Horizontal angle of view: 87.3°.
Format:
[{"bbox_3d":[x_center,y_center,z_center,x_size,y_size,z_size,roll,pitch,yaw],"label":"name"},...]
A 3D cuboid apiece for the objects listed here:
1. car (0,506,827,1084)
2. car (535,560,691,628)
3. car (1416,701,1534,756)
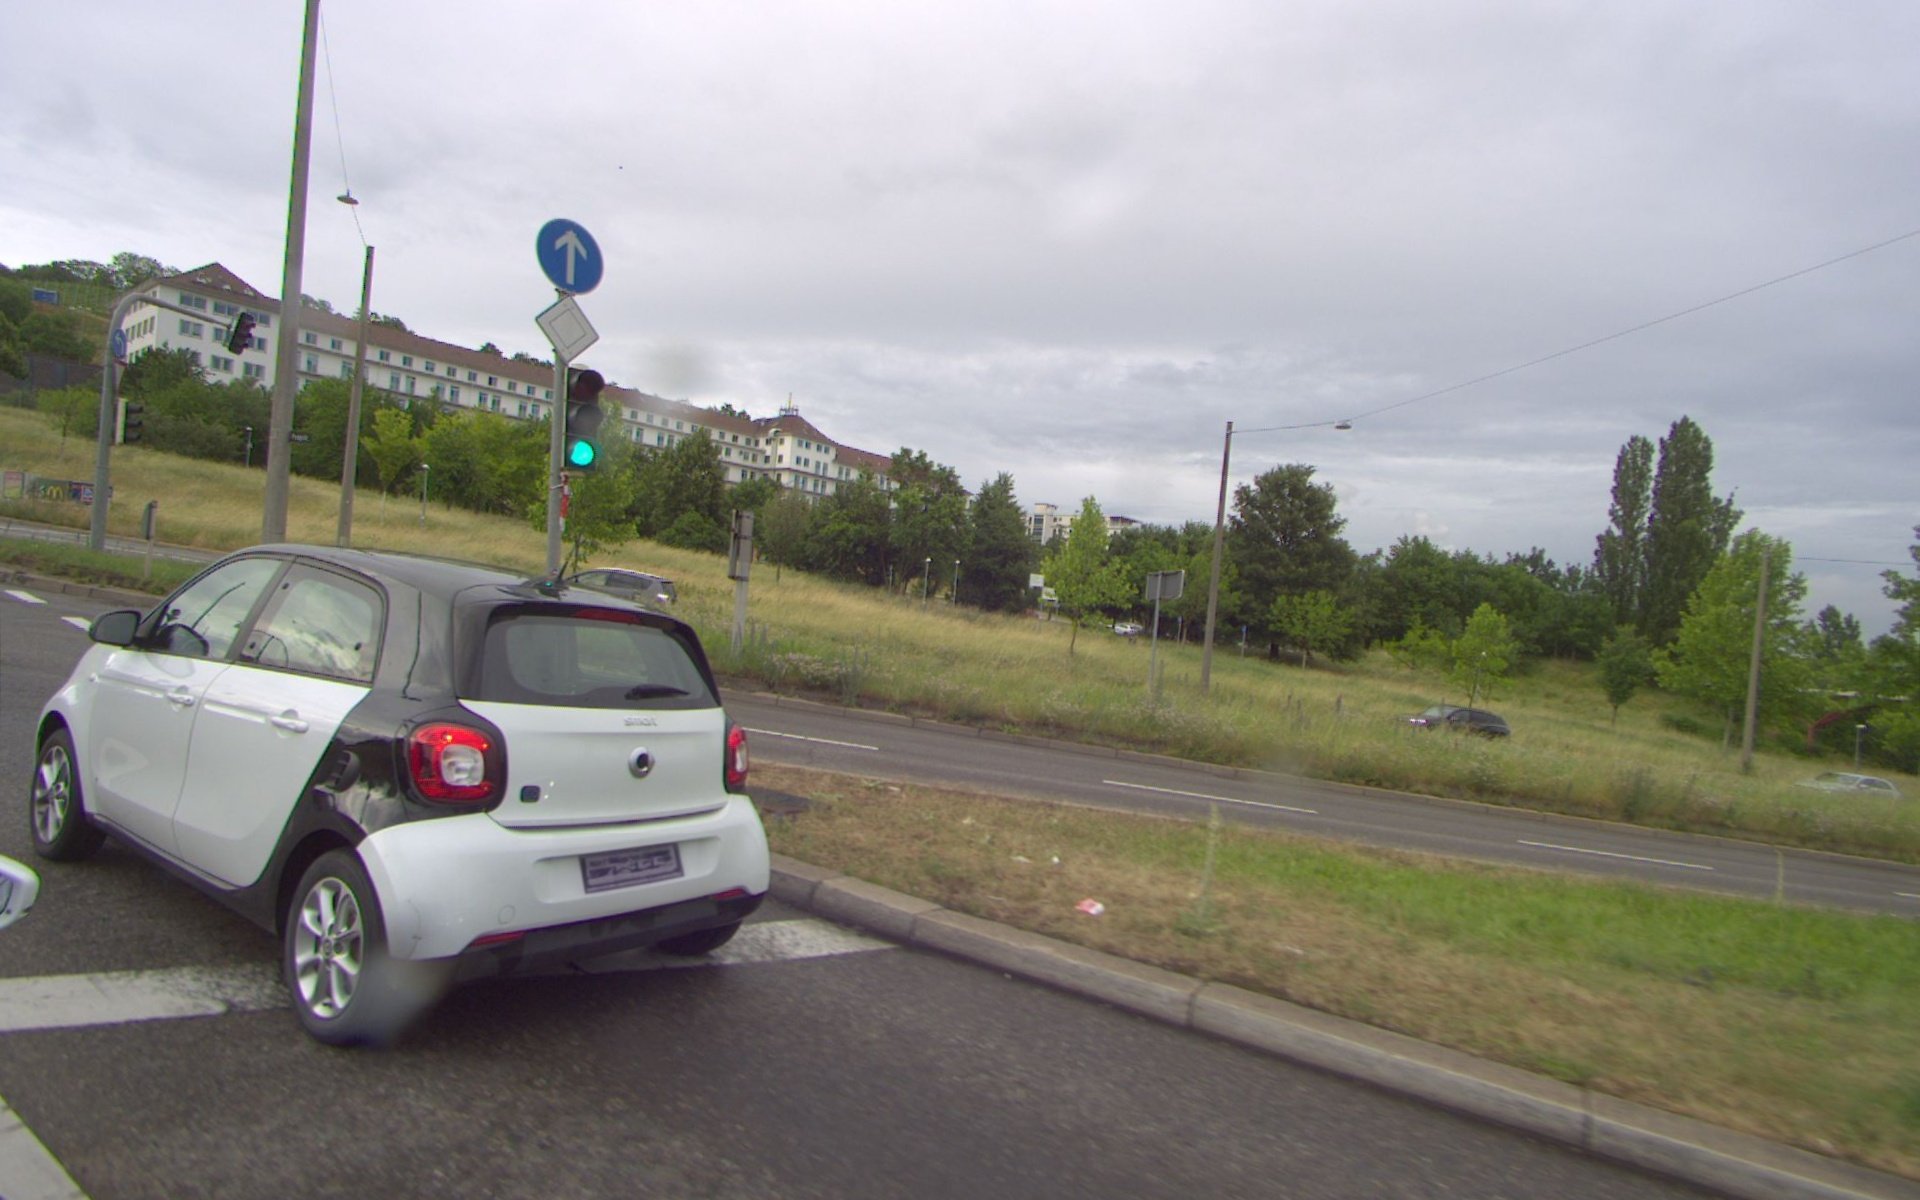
[{"bbox_3d":[-2.493,0.525,4.398,3.394,1.520,1.660,5,-2,32],"label":"car"},{"bbox_3d":[-10.295,-0.147,30.120,3.890,1.555,2.000,6,-1,-5],"label":"car"},{"bbox_3d":[19.530,4.870,38.156,3.904,1.425,1.595,10,-3,-17],"label":"car"}]
